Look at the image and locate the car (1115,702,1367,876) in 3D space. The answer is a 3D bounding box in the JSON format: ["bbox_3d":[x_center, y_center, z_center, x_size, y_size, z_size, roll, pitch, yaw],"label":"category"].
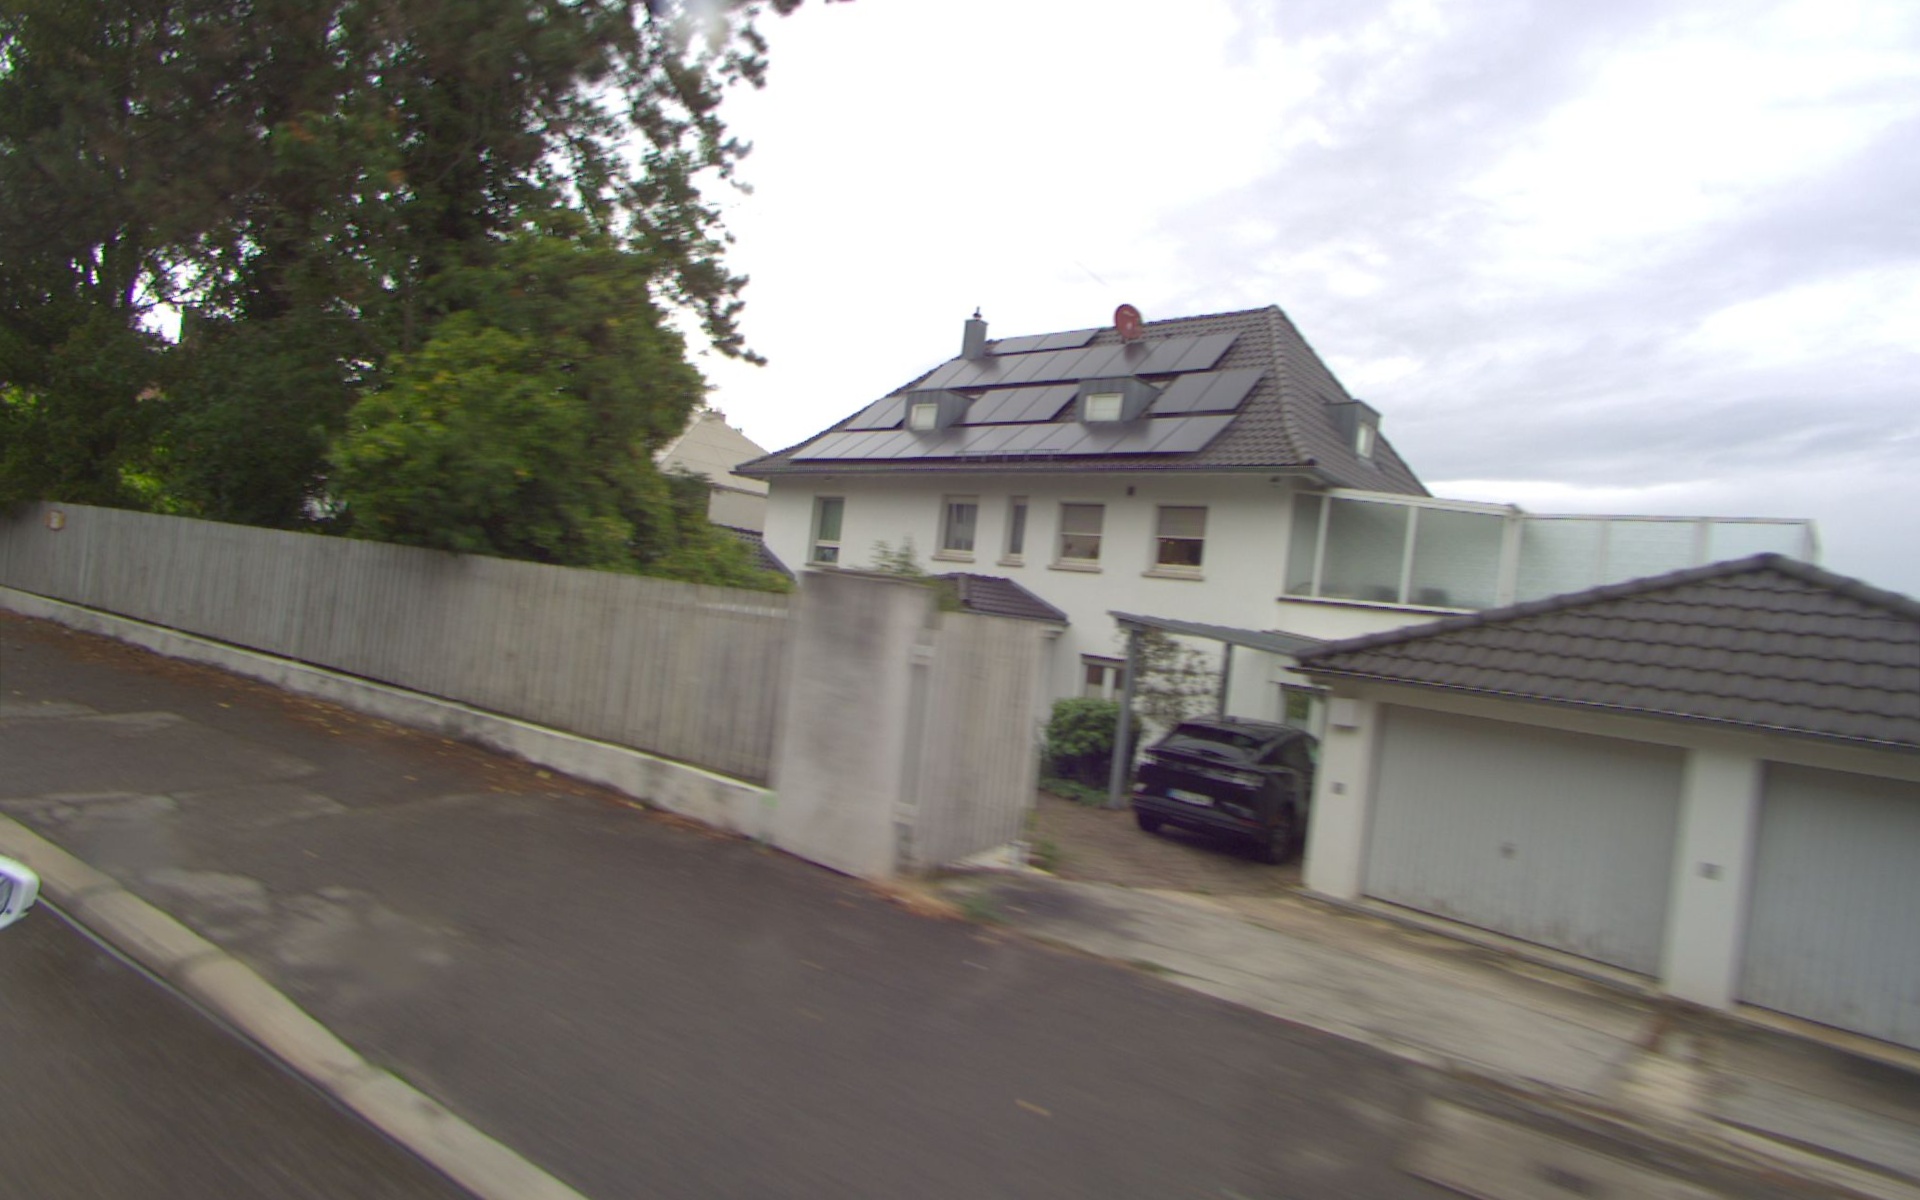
[{"bbox_3d":[3.863,2.360,13.337,1.840,1.606,3.991,9,-1,35],"label":"car"}]
